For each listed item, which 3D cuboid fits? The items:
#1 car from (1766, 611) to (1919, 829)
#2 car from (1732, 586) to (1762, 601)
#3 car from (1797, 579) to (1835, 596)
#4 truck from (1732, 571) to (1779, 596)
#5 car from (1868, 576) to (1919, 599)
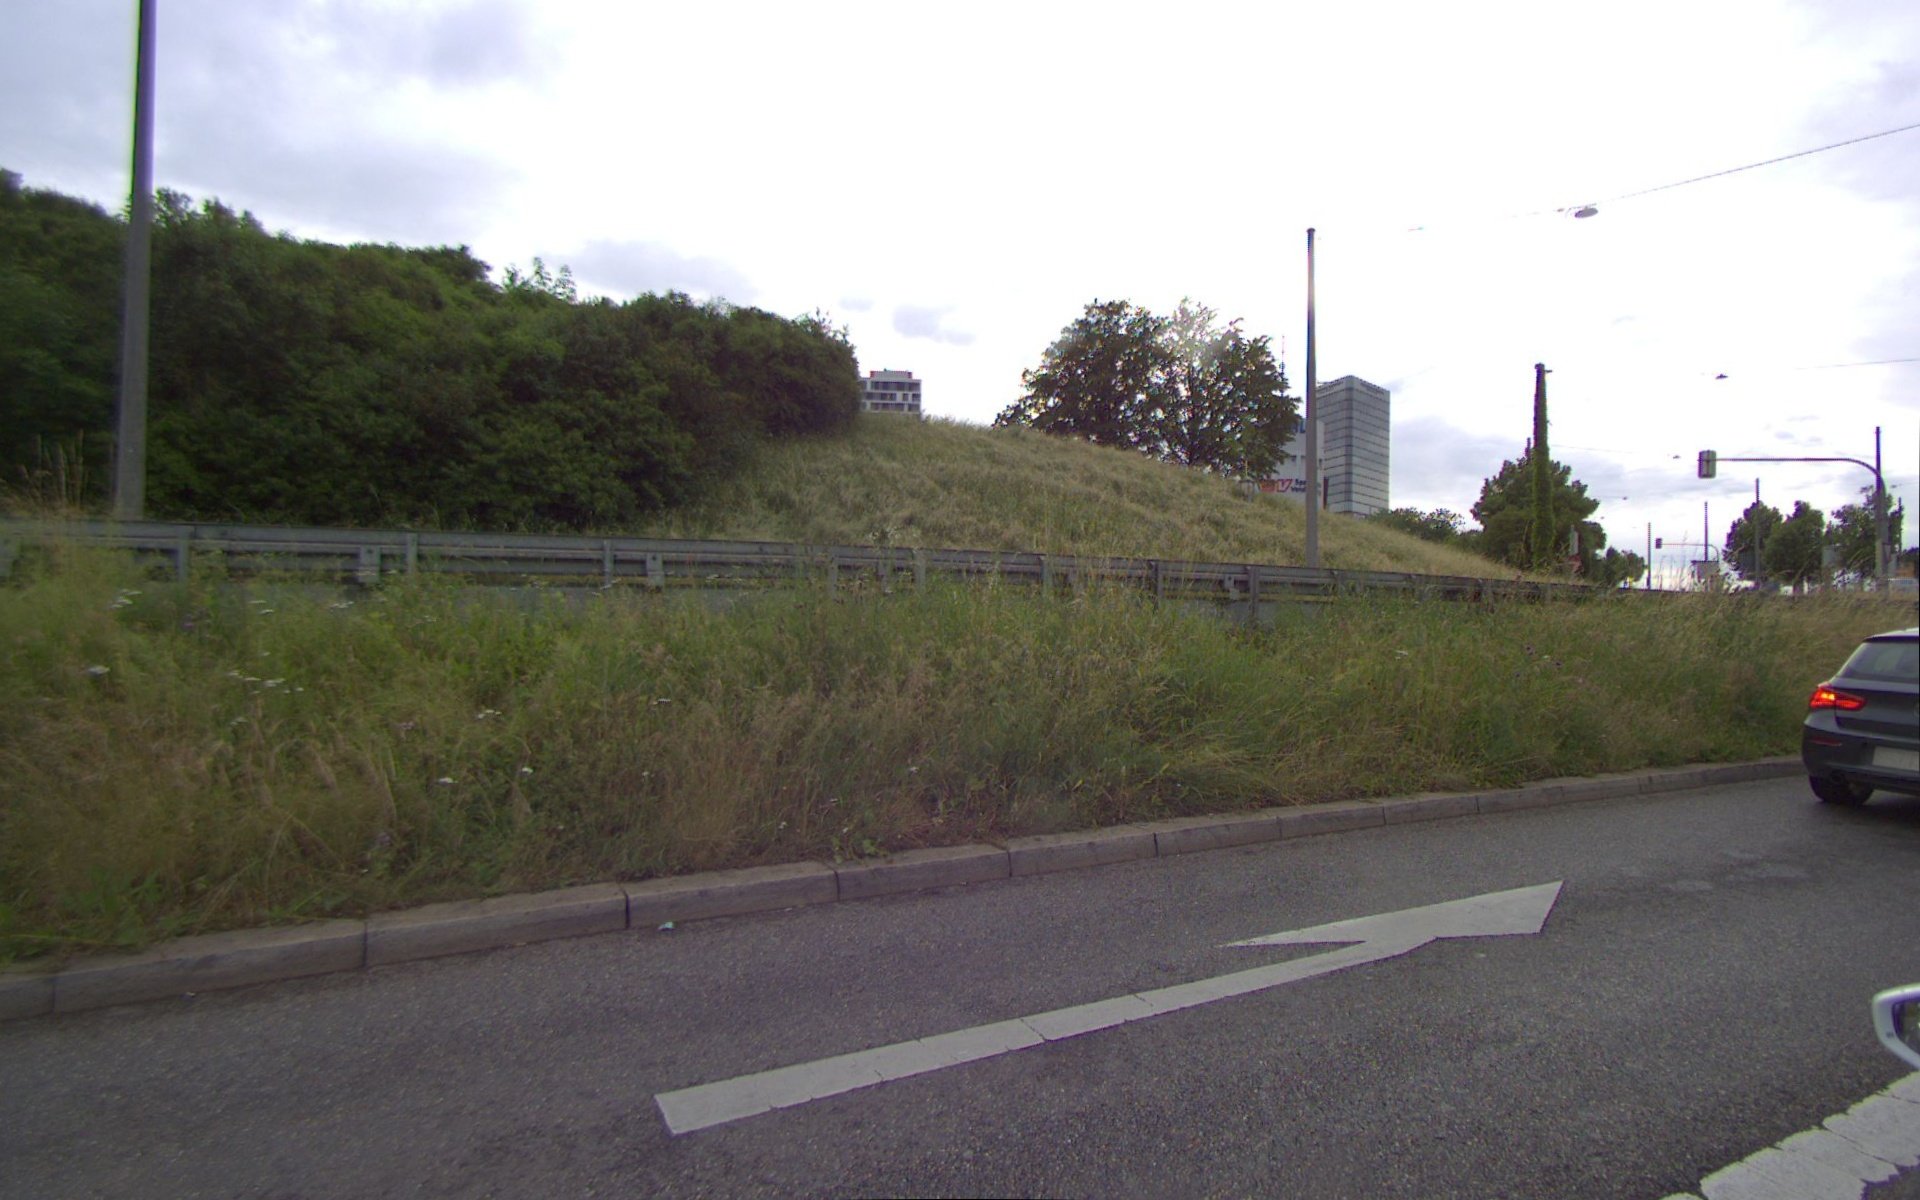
[{"bbox_3d":[8.346,0.852,7.754,4.058,1.479,1.698,1,-1,-25],"label":"car"},{"bbox_3d":[99.875,-0.848,127.562,1.962,1.681,4.350,2,-1,25],"label":"car"},{"bbox_3d":[94.587,-1.353,111.005,1.962,1.681,4.541,2,-1,25],"label":"car"},{"bbox_3d":[106.149,-2.180,134.087,3.206,3.116,6.171,4,3,23],"label":"truck"},{"bbox_3d":[83.452,-1.129,89.786,2.096,1.818,4.737,2,-1,25],"label":"car"}]
